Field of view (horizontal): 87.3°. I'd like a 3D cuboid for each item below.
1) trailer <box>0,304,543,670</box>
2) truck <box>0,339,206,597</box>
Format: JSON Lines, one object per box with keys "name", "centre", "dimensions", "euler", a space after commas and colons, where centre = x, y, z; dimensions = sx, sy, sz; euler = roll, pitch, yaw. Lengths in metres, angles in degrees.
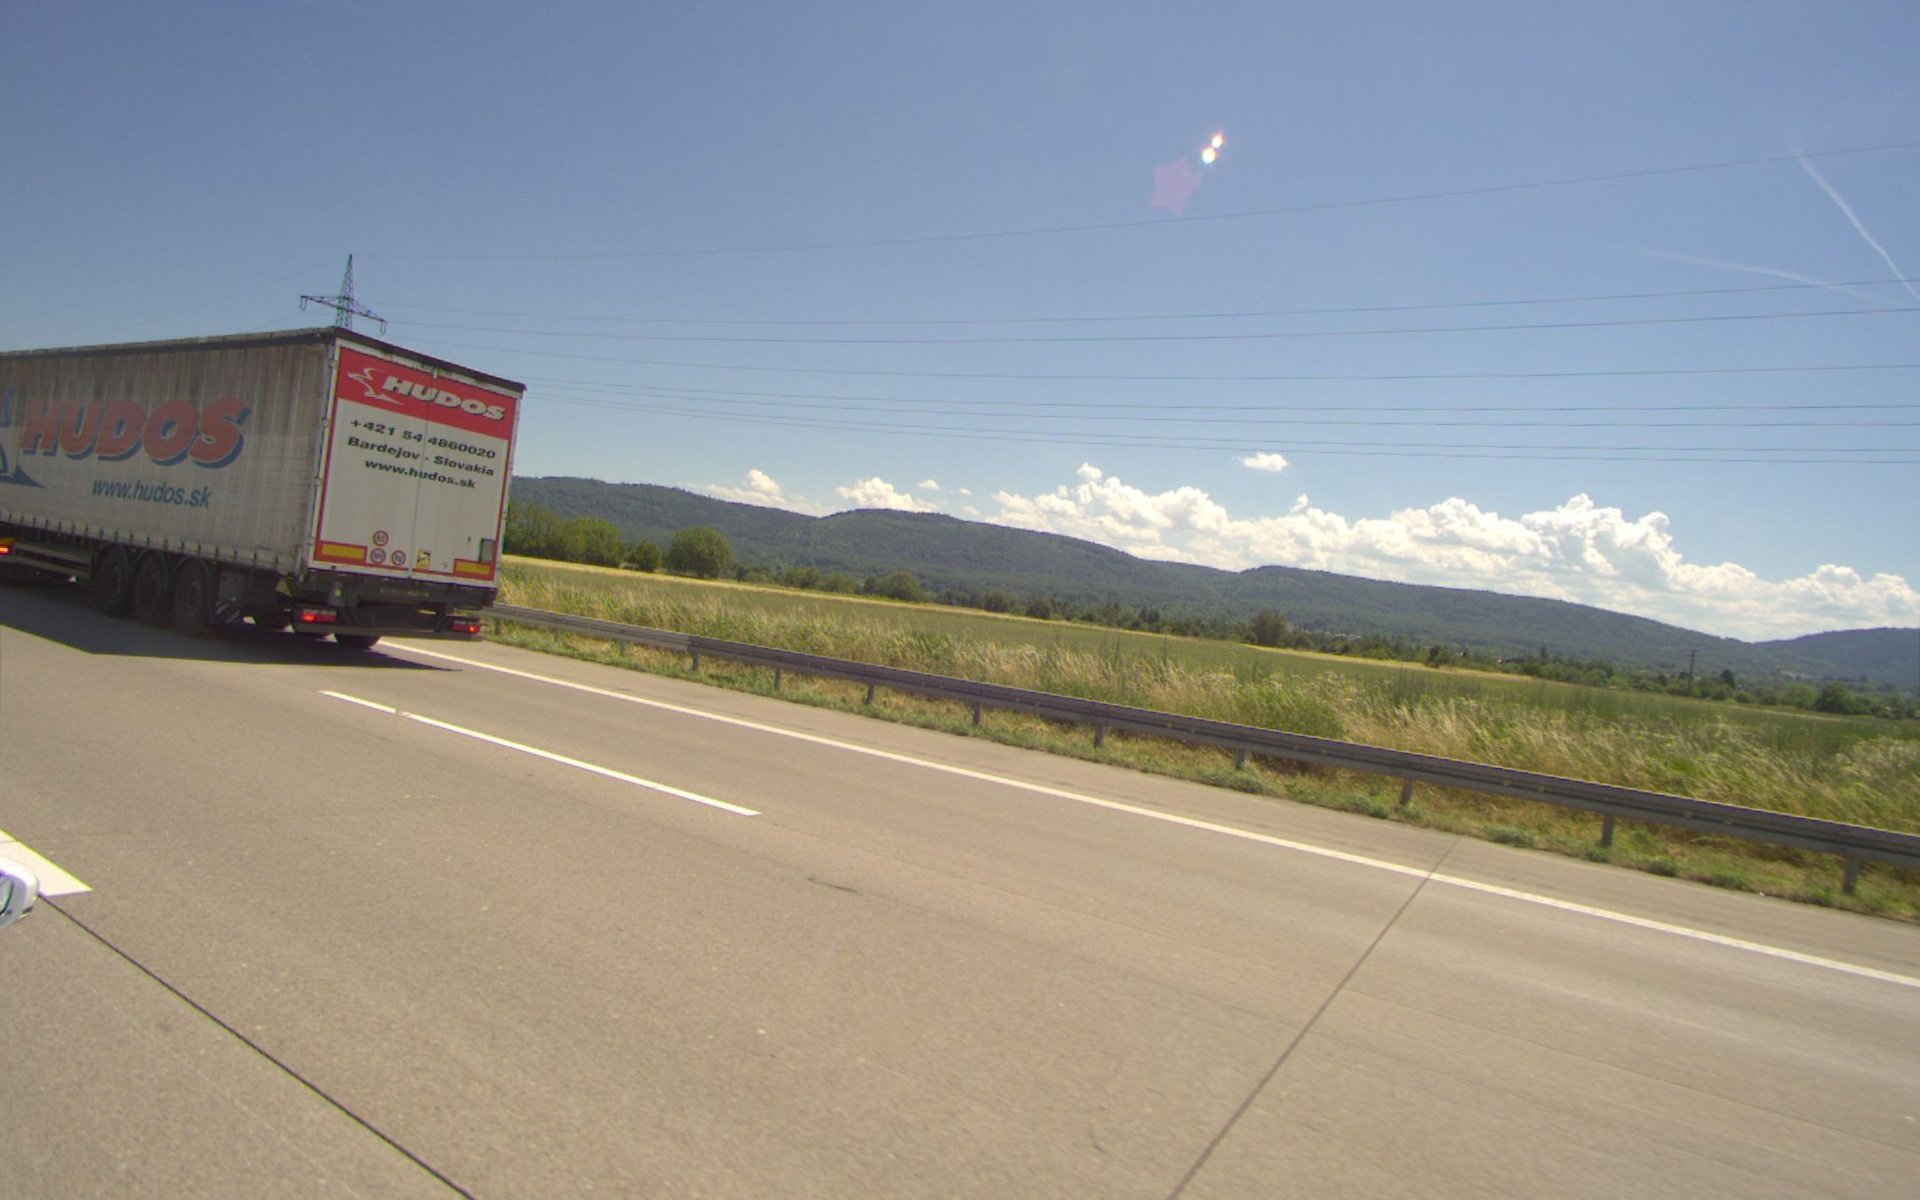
{"name": "trailer", "centre": [-12.463, -1.876, 16.375], "dimensions": [13.288, 4.148, 2.879], "euler": [7, -2, 32]}
{"name": "truck", "centre": [-18.394, -2.566, 20.078], "dimensions": [6.168, 4.148, 2.911], "euler": [7, -2, 32]}
